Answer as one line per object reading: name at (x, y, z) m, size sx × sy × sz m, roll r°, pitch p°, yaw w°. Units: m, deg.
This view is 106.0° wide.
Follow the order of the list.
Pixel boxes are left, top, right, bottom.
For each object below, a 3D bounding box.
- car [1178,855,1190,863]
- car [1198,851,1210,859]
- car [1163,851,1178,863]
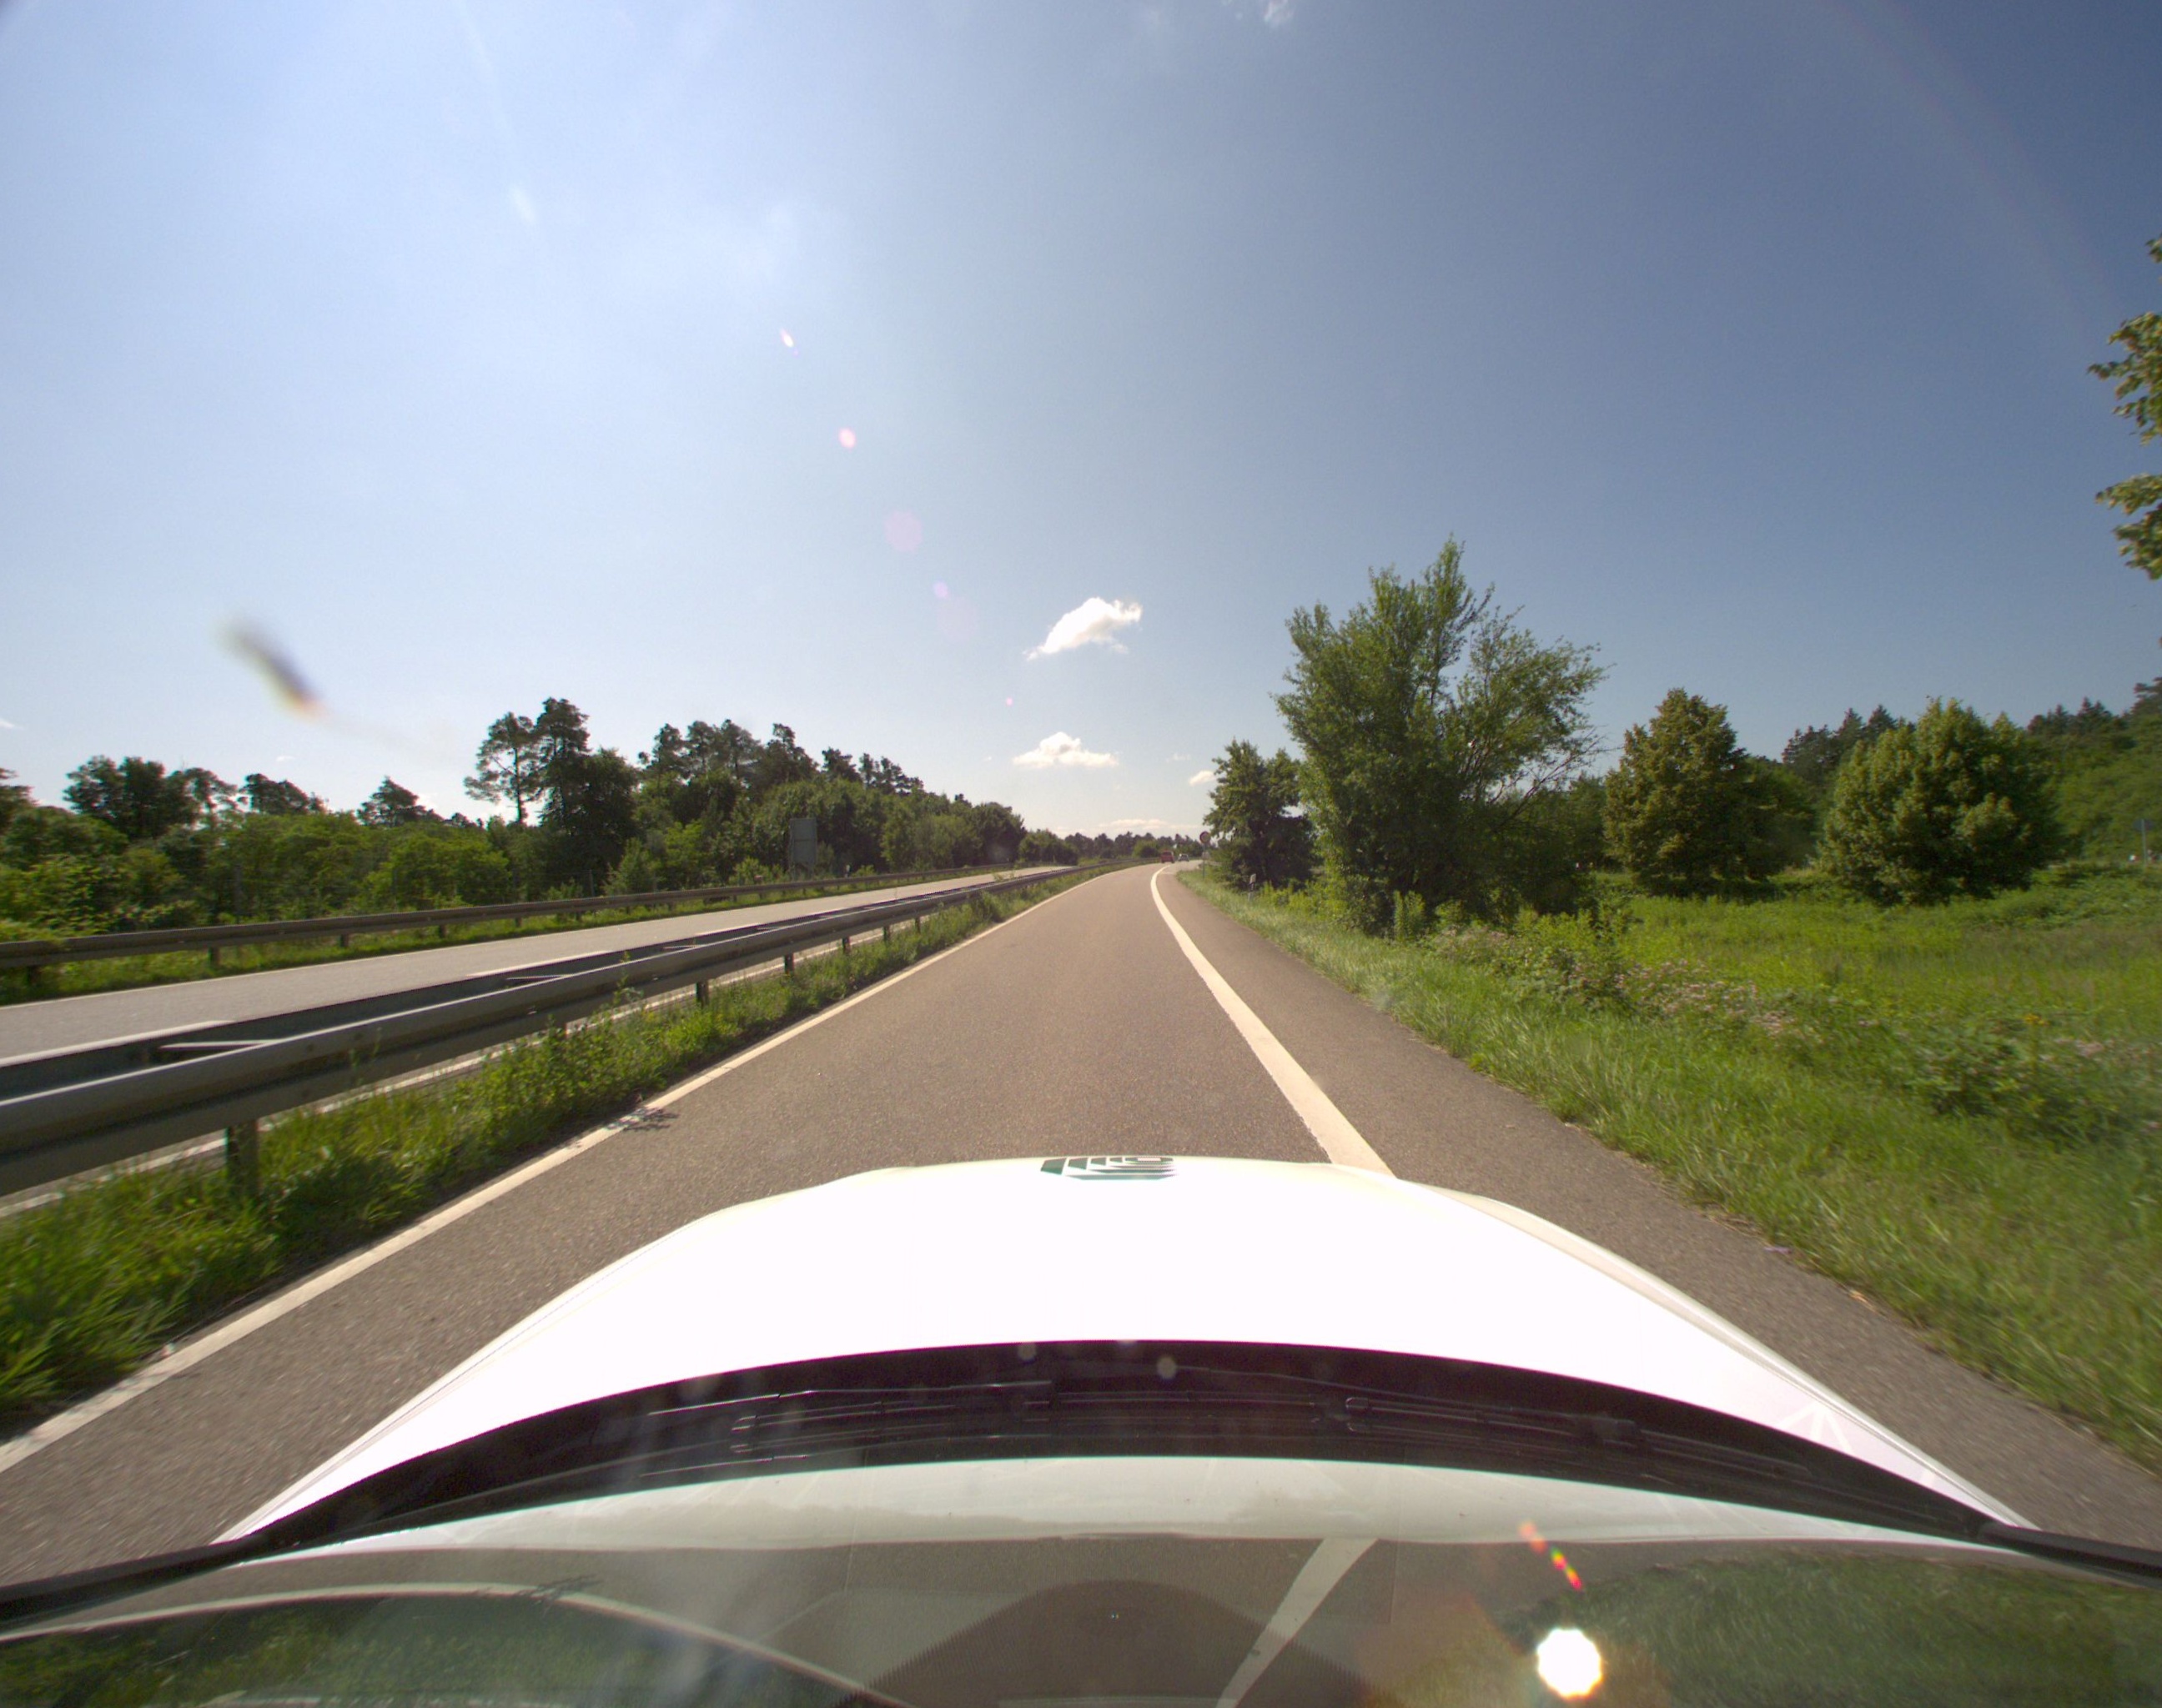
car at (19.746, 0.966, 155.508) m, size 1.994 × 1.494 × 4.251 m, roll -1°, pitch -1°, yaw 11°
car at (31.133, 0.206, 205.731) m, size 2.168 × 1.955 × 5.828 m, roll -1°, pitch -1°, yaw 17°
car at (14.565, 0.507, 132.163) m, size 2.064 × 1.993 × 5.126 m, roll -1°, pitch -1°, yaw 11°
